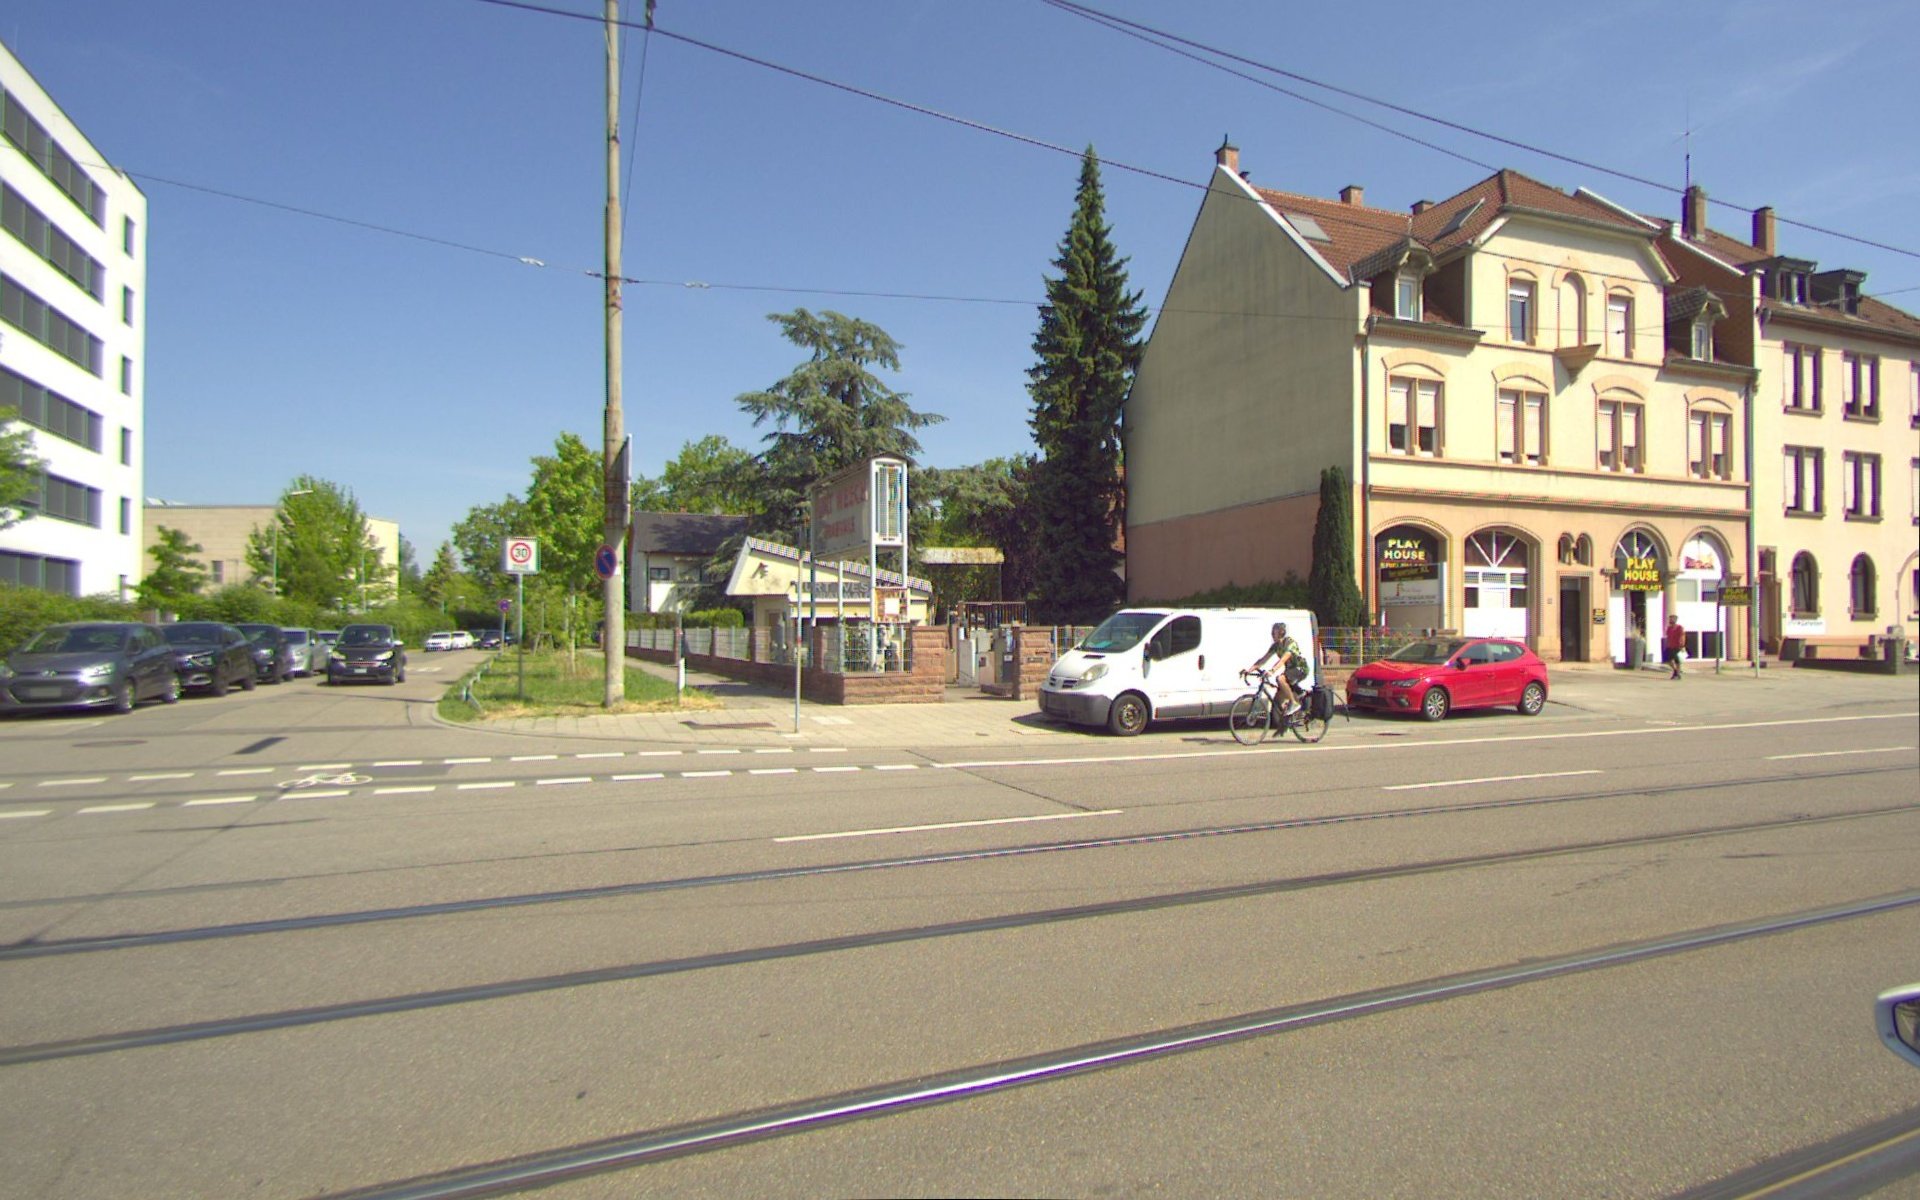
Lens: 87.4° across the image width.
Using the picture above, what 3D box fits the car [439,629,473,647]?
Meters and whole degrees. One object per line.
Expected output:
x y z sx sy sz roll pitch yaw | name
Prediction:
-42.884 3.213 85.544 1.904 1.468 3.815 0 -2 -17 | car

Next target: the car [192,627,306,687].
-18.591 1.457 26.430 1.759 1.463 3.827 1 -2 -25 | car

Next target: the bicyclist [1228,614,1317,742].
4.420 1.080 14.237 0.971 1.747 0.717 0 -2 -13 | bicyclist

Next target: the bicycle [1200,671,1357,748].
4.497 1.525 14.196 2.128 0.997 0.609 1 -1 -15 | bicycle

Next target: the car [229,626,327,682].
-20.424 1.570 30.231 1.790 1.525 4.020 0 -1 -25 | car

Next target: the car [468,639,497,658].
-39.376 3.994 82.876 1.908 1.468 3.808 1 -2 -22 | car

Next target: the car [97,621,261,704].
-16.223 1.246 21.104 1.791 1.539 4.144 1 -2 -25 | car

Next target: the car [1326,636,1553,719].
9.070 1.391 18.992 3.944 1.425 1.716 1 -2 -23 | car

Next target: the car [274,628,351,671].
-22.938 1.721 35.711 1.791 1.422 3.805 1 -2 -25 | car

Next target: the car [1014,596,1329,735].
3.525 1.011 16.722 4.837 2.040 2.080 1 -1 -23 | car

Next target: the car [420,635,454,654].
-40.999 3.455 78.800 1.907 1.468 3.810 1 -2 -21 | car

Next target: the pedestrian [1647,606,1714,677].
19.288 1.100 26.899 1.111 1.839 0.943 0 -1 -14 | pedestrian

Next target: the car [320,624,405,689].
-15.246 1.397 25.767 1.458 1.559 2.960 0 -1 -23 | car

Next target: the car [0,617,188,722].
-14.481 1.098 16.807 1.682 1.547 3.674 1 -2 -25 | car
